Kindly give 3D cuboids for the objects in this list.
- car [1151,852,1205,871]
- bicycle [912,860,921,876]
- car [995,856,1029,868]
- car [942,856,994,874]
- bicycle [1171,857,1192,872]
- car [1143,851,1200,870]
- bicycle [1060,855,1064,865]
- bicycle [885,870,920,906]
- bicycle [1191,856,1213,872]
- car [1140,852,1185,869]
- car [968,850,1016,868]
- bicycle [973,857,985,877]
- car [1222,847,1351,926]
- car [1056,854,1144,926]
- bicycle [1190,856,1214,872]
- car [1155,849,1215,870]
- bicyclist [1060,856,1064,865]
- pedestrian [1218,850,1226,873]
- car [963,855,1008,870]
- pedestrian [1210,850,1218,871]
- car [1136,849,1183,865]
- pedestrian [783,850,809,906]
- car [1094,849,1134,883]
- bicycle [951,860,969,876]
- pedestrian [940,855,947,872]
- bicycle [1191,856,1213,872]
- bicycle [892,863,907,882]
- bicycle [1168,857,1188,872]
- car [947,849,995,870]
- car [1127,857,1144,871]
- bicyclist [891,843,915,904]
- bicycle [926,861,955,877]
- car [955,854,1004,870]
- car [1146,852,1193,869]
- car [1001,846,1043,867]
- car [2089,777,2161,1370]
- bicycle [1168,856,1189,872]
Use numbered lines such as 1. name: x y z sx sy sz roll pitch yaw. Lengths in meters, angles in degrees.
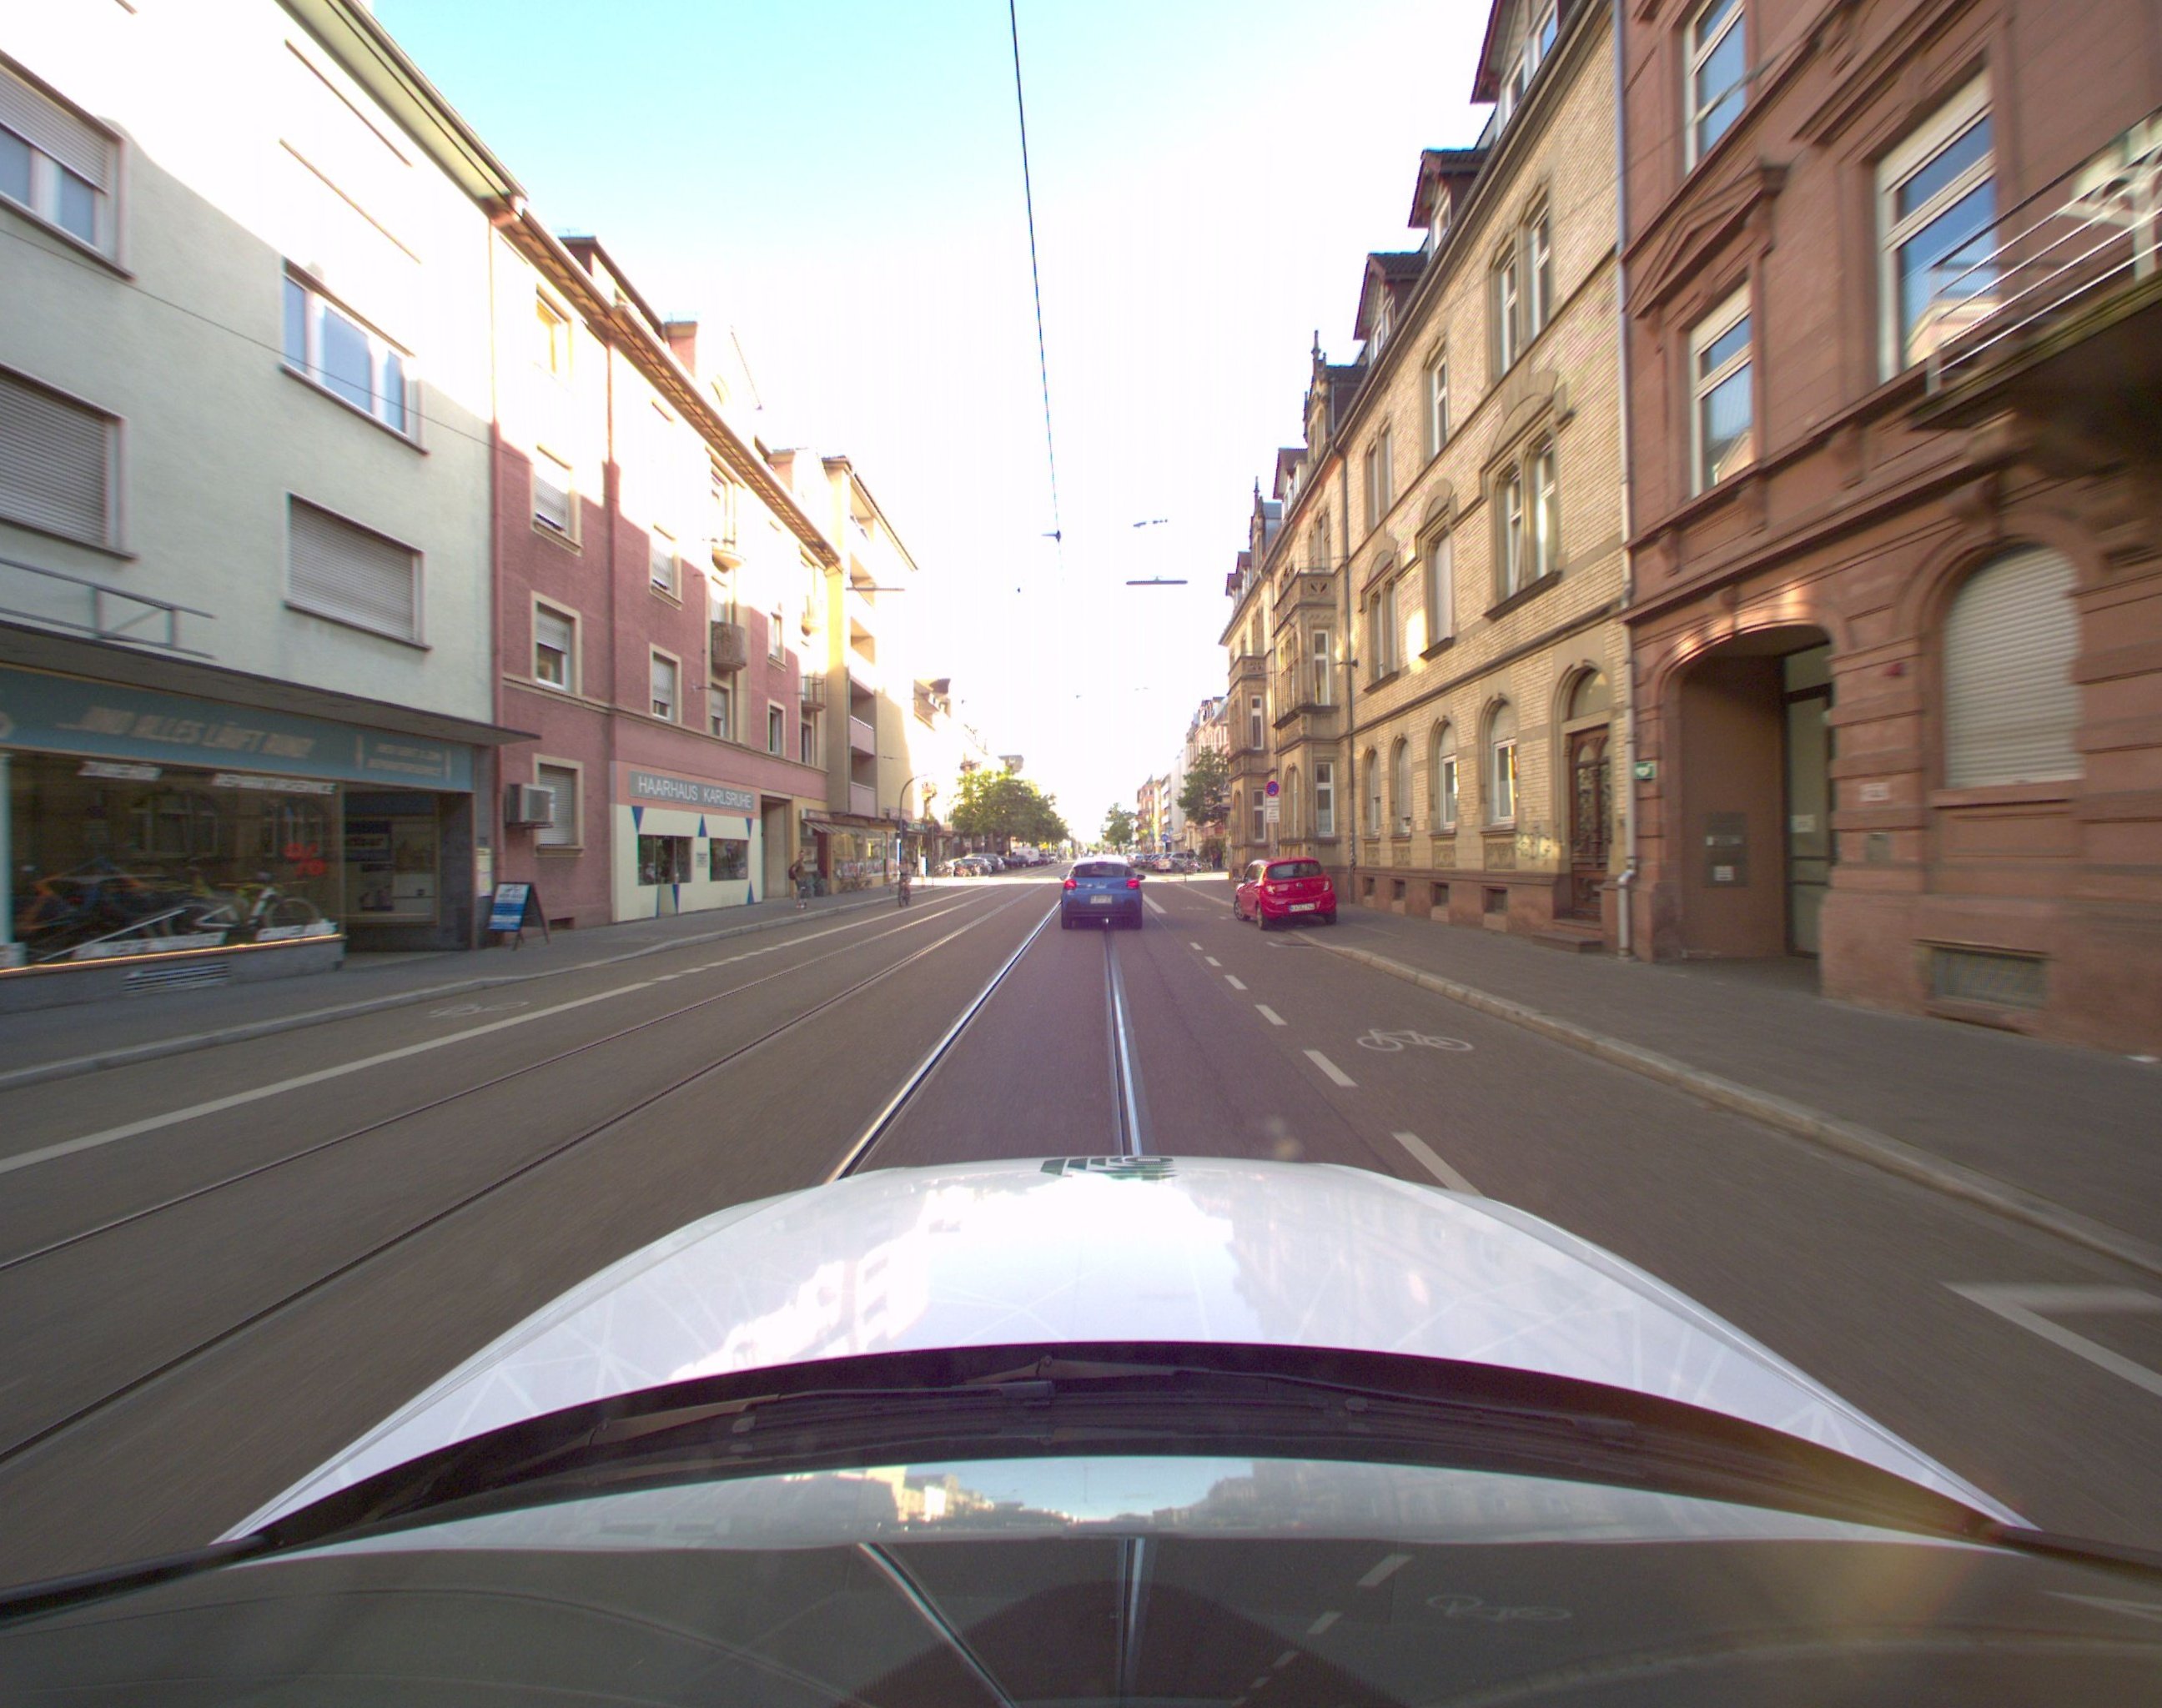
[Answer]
1. car: 7.963 0.582 66.792 4.005 1.536 1.903 0 -1 -24
2. bicycle: -12.026 1.008 59.488 0.404 1.109 1.825 -1 -1 -20
3. car: -8.662 0.946 101.613 3.994 1.489 1.797 0 -1 -16
4. car: -9.097 0.864 65.549 3.805 1.400 1.737 0 -1 -32
5. bicycle: 7.446 0.760 60.306 1.547 1.079 0.308 0 -1 7
6. car: 7.736 0.524 69.634 4.454 1.596 2.072 0 -1 -24
7. bicycle: -3.439 1.057 145.774 0.678 1.679 2.097 0 -1 1
8. bicycle: -5.974 1.123 27.334 0.600 1.096 2.045 -3 -1 2
9. bicycle: 8.641 0.701 58.132 1.547 1.127 0.552 0 -1 7
10. car: 7.981 0.633 79.821 4.005 1.596 2.071 0 -1 -24
11. car: -8.908 0.517 81.921 4.381 1.783 1.976 0 -1 -32
12. bicycle: -7.505 0.939 59.937 0.680 1.319 2.433 0 2 -3
13. car: 4.557 0.675 18.757 1.859 1.483 4.401 -4 -1 1
14. car: 0.419 0.742 18.187 1.756 1.441 3.557 0 0 1
15. bicycle: 8.800 0.746 59.296 1.665 1.127 0.552 0 -1 7
16. car: 8.160 0.417 63.948 4.371 1.596 1.839 0 -1 -24
17. bicyclist: -3.460 1.180 145.865 0.632 1.681 0.727 0 -1 1
18. pedestrian: 11.273 0.596 65.316 0.516 1.778 0.864 0 -1 1
19. car: -9.021 0.786 77.042 3.850 1.430 1.751 0 -1 -25
20. pedestrian: 10.636 0.521 65.001 0.516 1.648 0.864 0 -1 1
21. car: 7.908 0.297 82.384 4.322 1.596 1.967 0 -1 -24
22. pedestrian: -8.683 0.735 24.815 0.561 1.686 0.616 0 -1 0
23. car: 1.575 0.567 39.538 1.866 1.596 4.001 0 0 2
24. bicycle: -8.835 1.013 59.566 0.686 1.123 1.870 -1 2 -30
25. pedestrian: -13.244 0.903 78.461 0.567 1.652 0.641 0 -1 1
26. bicycle: 8.714 0.728 58.729 1.547 1.127 0.529 0 -1 7
27. bicycle: -12.139 1.219 54.527 0.680 1.109 2.431 0 2 -5
28. bicycle: 6.982 0.758 58.548 1.395 1.127 0.550 0 -1 -5
29. car: -9.572 0.511 70.858 3.831 1.785 1.781 0 -1 -27
30. car: 6.291 1.190 94.472 1.866 1.596 4.721 0 0 2
31. bicyclist: -5.959 0.639 27.276 0.609 2.014 0.734 0 -1 1
32. bicycle: -10.174 1.074 58.953 2.405 1.109 0.688 2 2 41
33. car: -9.180 0.732 73.806 4.032 1.449 1.682 0 -1 -32
34. car: 8.378 0.611 76.979 4.005 1.596 1.944 0 -1 -24
35. car: -7.774 0.315 107.385 5.402 2.749 1.789 0 -1 -29
36. car: 4.024 0.591 0.272 1.861 1.646 4.396 0 0 -3
37. bicycle: 7.258 0.746 60.712 1.551 1.127 0.295 0 -1 7
